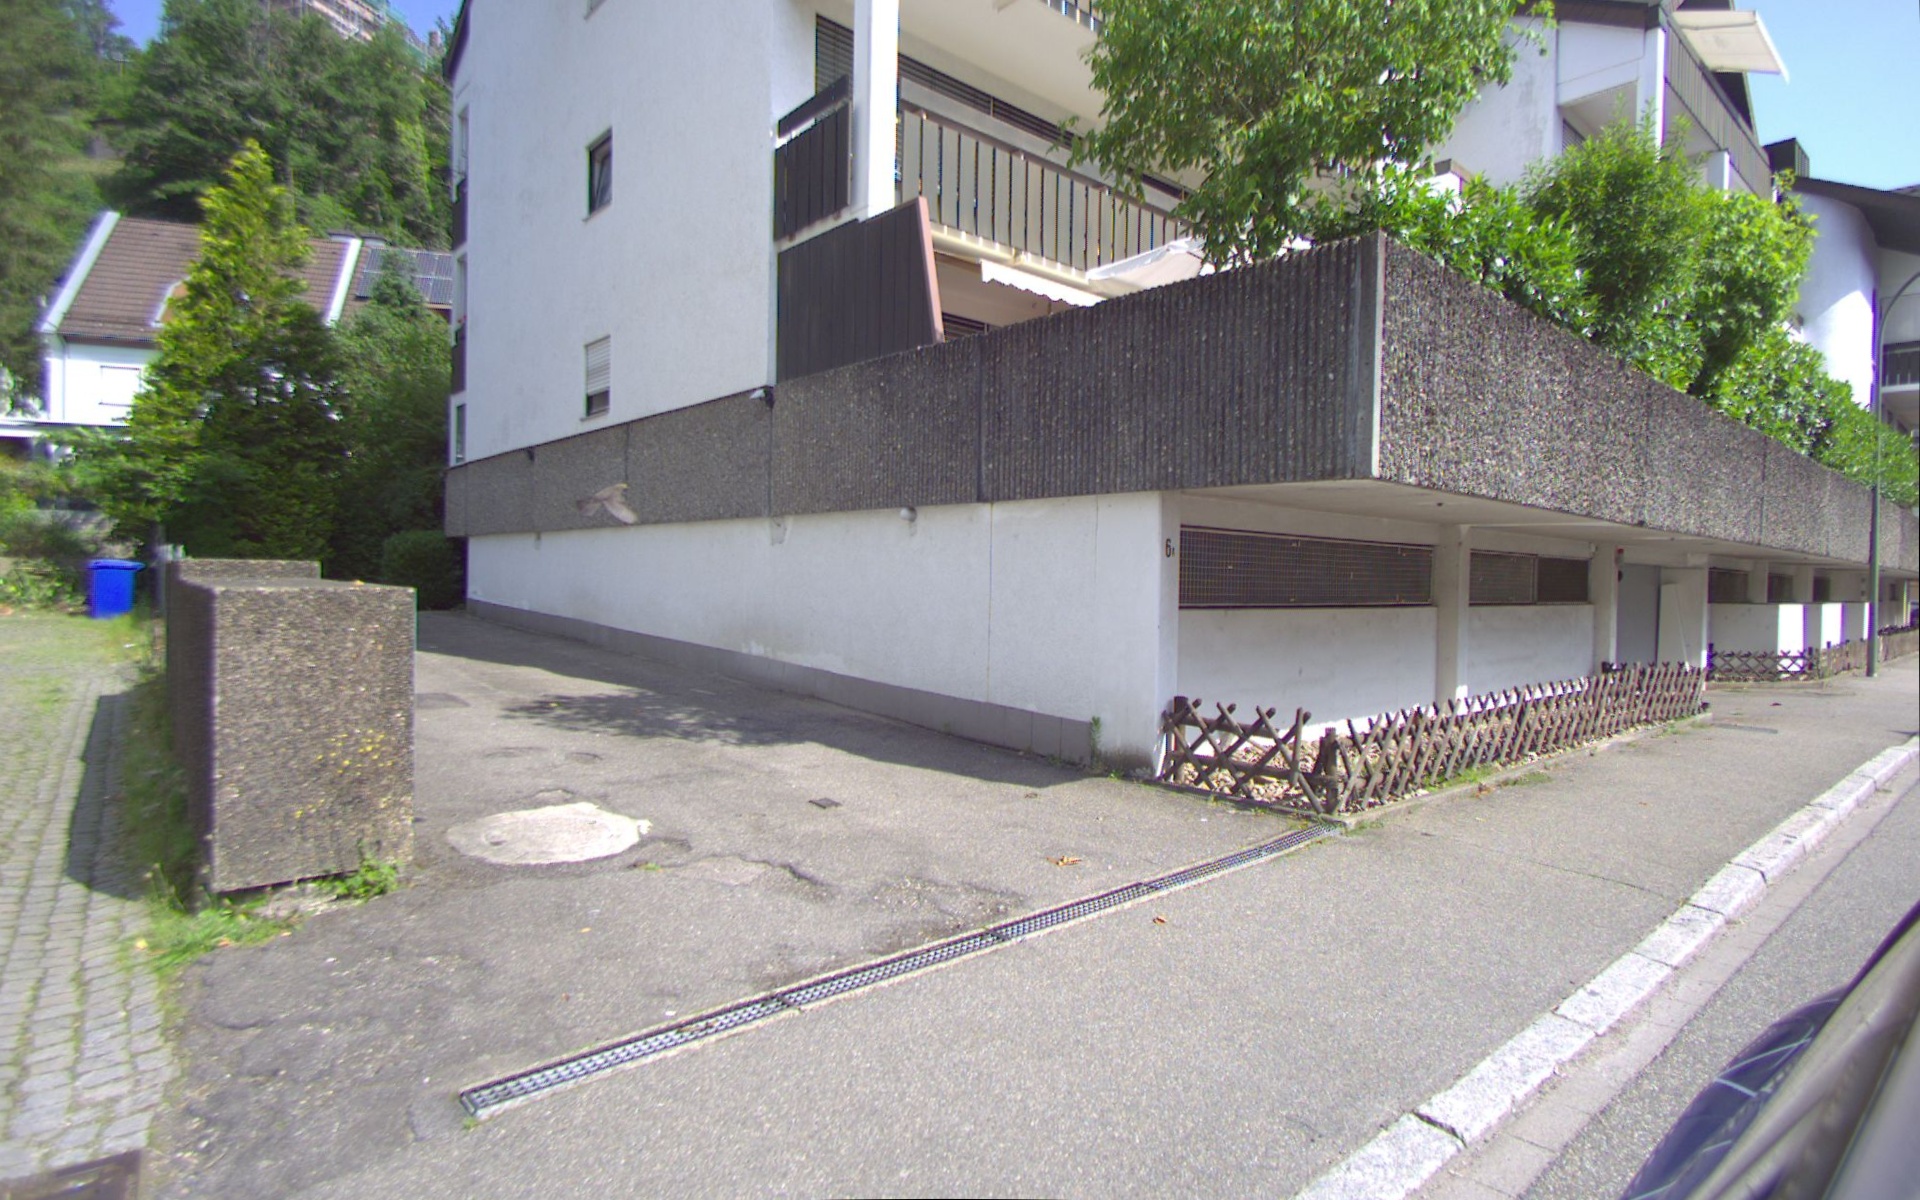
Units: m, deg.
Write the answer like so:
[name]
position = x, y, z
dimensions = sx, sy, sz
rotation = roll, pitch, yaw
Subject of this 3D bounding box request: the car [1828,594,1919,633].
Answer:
[car]
position = 37.799, 0.539, 41.004
dimensions = 1.672, 1.498, 3.830
rotation = 1, -1, -43
